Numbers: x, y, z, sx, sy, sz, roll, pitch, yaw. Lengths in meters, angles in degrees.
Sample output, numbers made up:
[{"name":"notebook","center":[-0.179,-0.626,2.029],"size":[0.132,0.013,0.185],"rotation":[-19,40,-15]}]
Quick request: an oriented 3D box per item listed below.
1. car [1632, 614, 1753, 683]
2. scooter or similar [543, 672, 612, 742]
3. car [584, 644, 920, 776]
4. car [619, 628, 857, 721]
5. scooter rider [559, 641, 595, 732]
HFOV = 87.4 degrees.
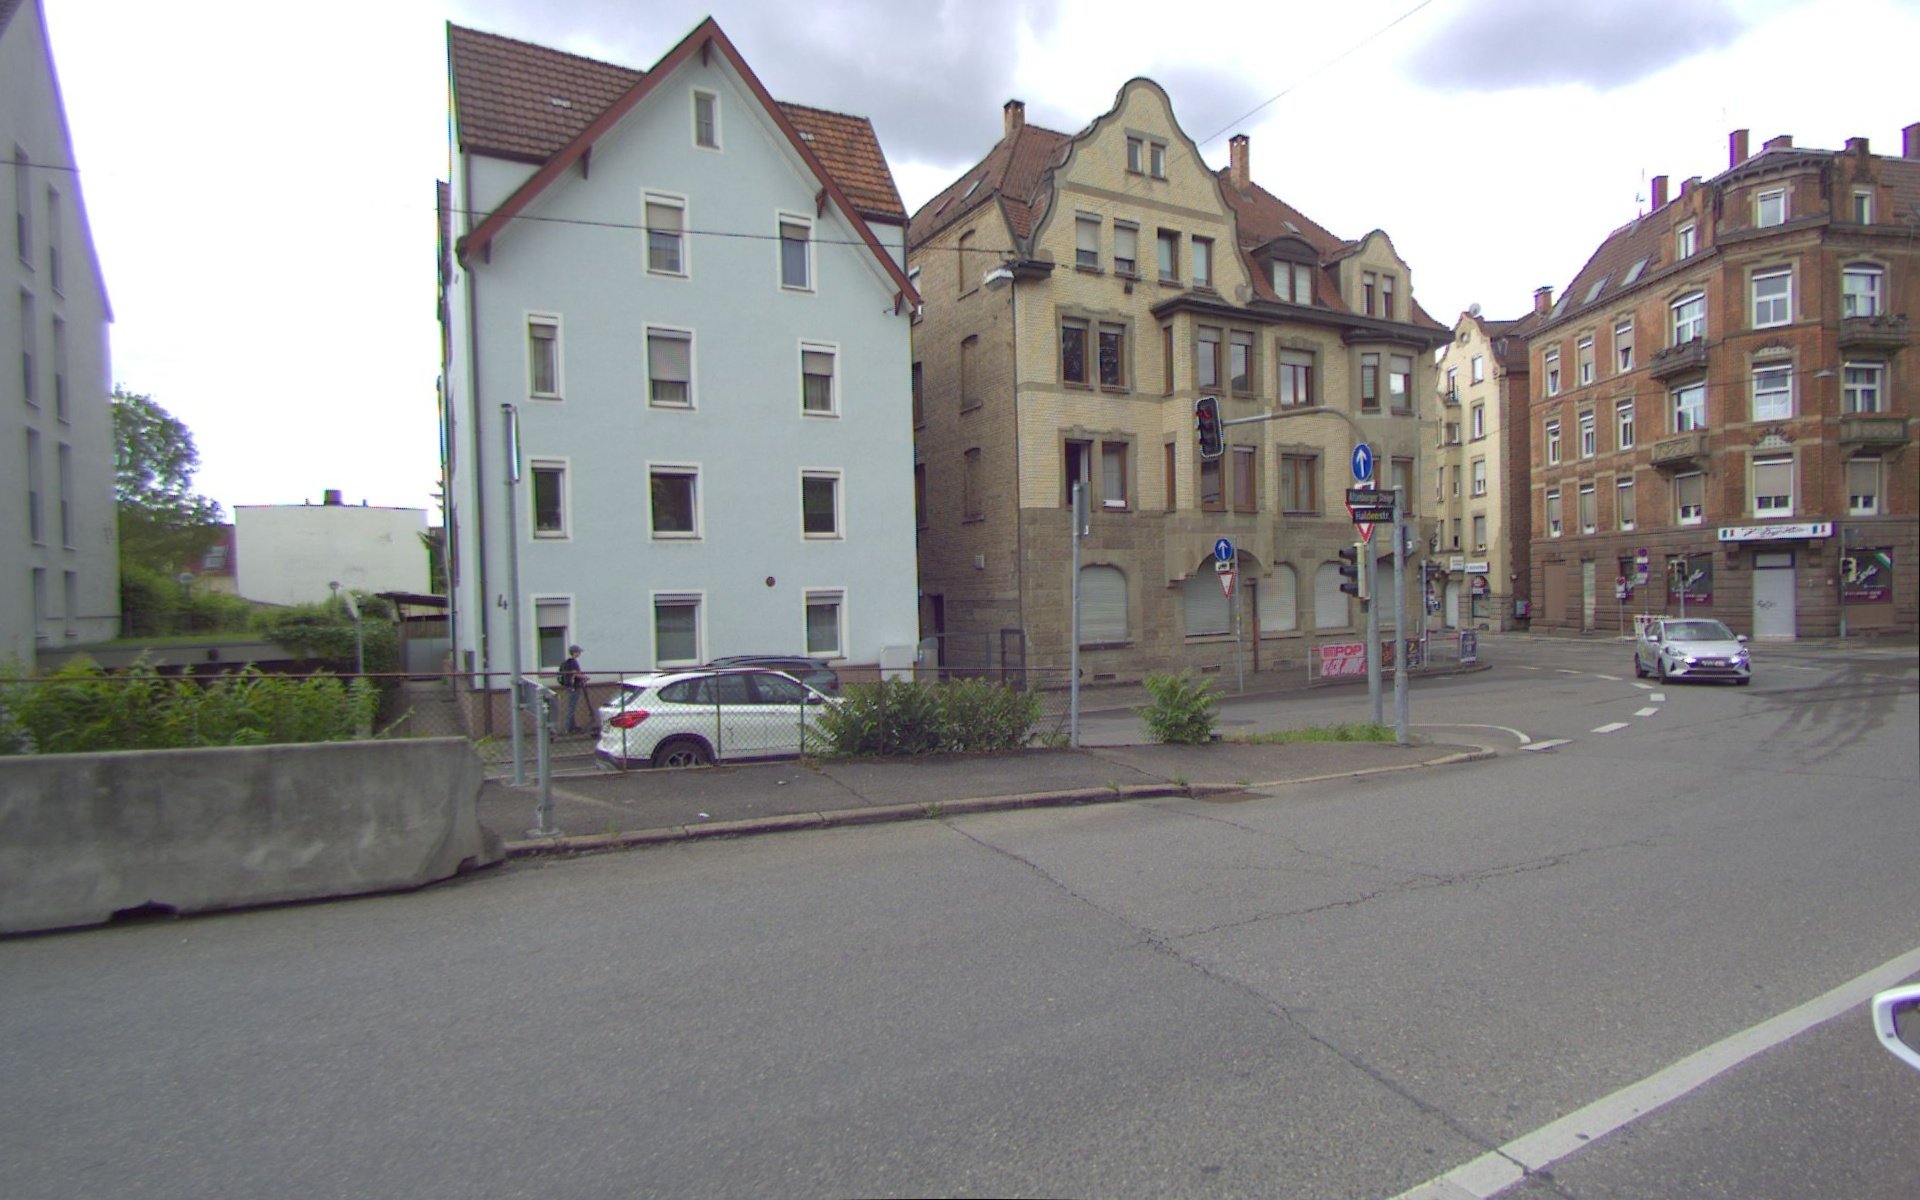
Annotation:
[{"name":"car","center":[17.395,1.108,24.021],"size":[1.643,1.487,3.641],"rotation":[0,-1,25]},{"name":"scooter or similar","center":[-7.556,2.094,19.849],"size":[1.212,1.259,0.376],"rotation":[-1,2,-30]},{"name":"car","center":[-2.929,1.451,14.389],"size":[4.371,1.534,1.819],"rotation":[1,0,-30]},{"name":"car","center":[-4.249,1.358,19.417],"size":[4.184,1.576,1.674],"rotation":[1,0,-31]},{"name":"scooter rider","center":[-7.563,1.688,19.835],"size":[0.570,1.728,0.485],"rotation":[-1,2,-30]}]
